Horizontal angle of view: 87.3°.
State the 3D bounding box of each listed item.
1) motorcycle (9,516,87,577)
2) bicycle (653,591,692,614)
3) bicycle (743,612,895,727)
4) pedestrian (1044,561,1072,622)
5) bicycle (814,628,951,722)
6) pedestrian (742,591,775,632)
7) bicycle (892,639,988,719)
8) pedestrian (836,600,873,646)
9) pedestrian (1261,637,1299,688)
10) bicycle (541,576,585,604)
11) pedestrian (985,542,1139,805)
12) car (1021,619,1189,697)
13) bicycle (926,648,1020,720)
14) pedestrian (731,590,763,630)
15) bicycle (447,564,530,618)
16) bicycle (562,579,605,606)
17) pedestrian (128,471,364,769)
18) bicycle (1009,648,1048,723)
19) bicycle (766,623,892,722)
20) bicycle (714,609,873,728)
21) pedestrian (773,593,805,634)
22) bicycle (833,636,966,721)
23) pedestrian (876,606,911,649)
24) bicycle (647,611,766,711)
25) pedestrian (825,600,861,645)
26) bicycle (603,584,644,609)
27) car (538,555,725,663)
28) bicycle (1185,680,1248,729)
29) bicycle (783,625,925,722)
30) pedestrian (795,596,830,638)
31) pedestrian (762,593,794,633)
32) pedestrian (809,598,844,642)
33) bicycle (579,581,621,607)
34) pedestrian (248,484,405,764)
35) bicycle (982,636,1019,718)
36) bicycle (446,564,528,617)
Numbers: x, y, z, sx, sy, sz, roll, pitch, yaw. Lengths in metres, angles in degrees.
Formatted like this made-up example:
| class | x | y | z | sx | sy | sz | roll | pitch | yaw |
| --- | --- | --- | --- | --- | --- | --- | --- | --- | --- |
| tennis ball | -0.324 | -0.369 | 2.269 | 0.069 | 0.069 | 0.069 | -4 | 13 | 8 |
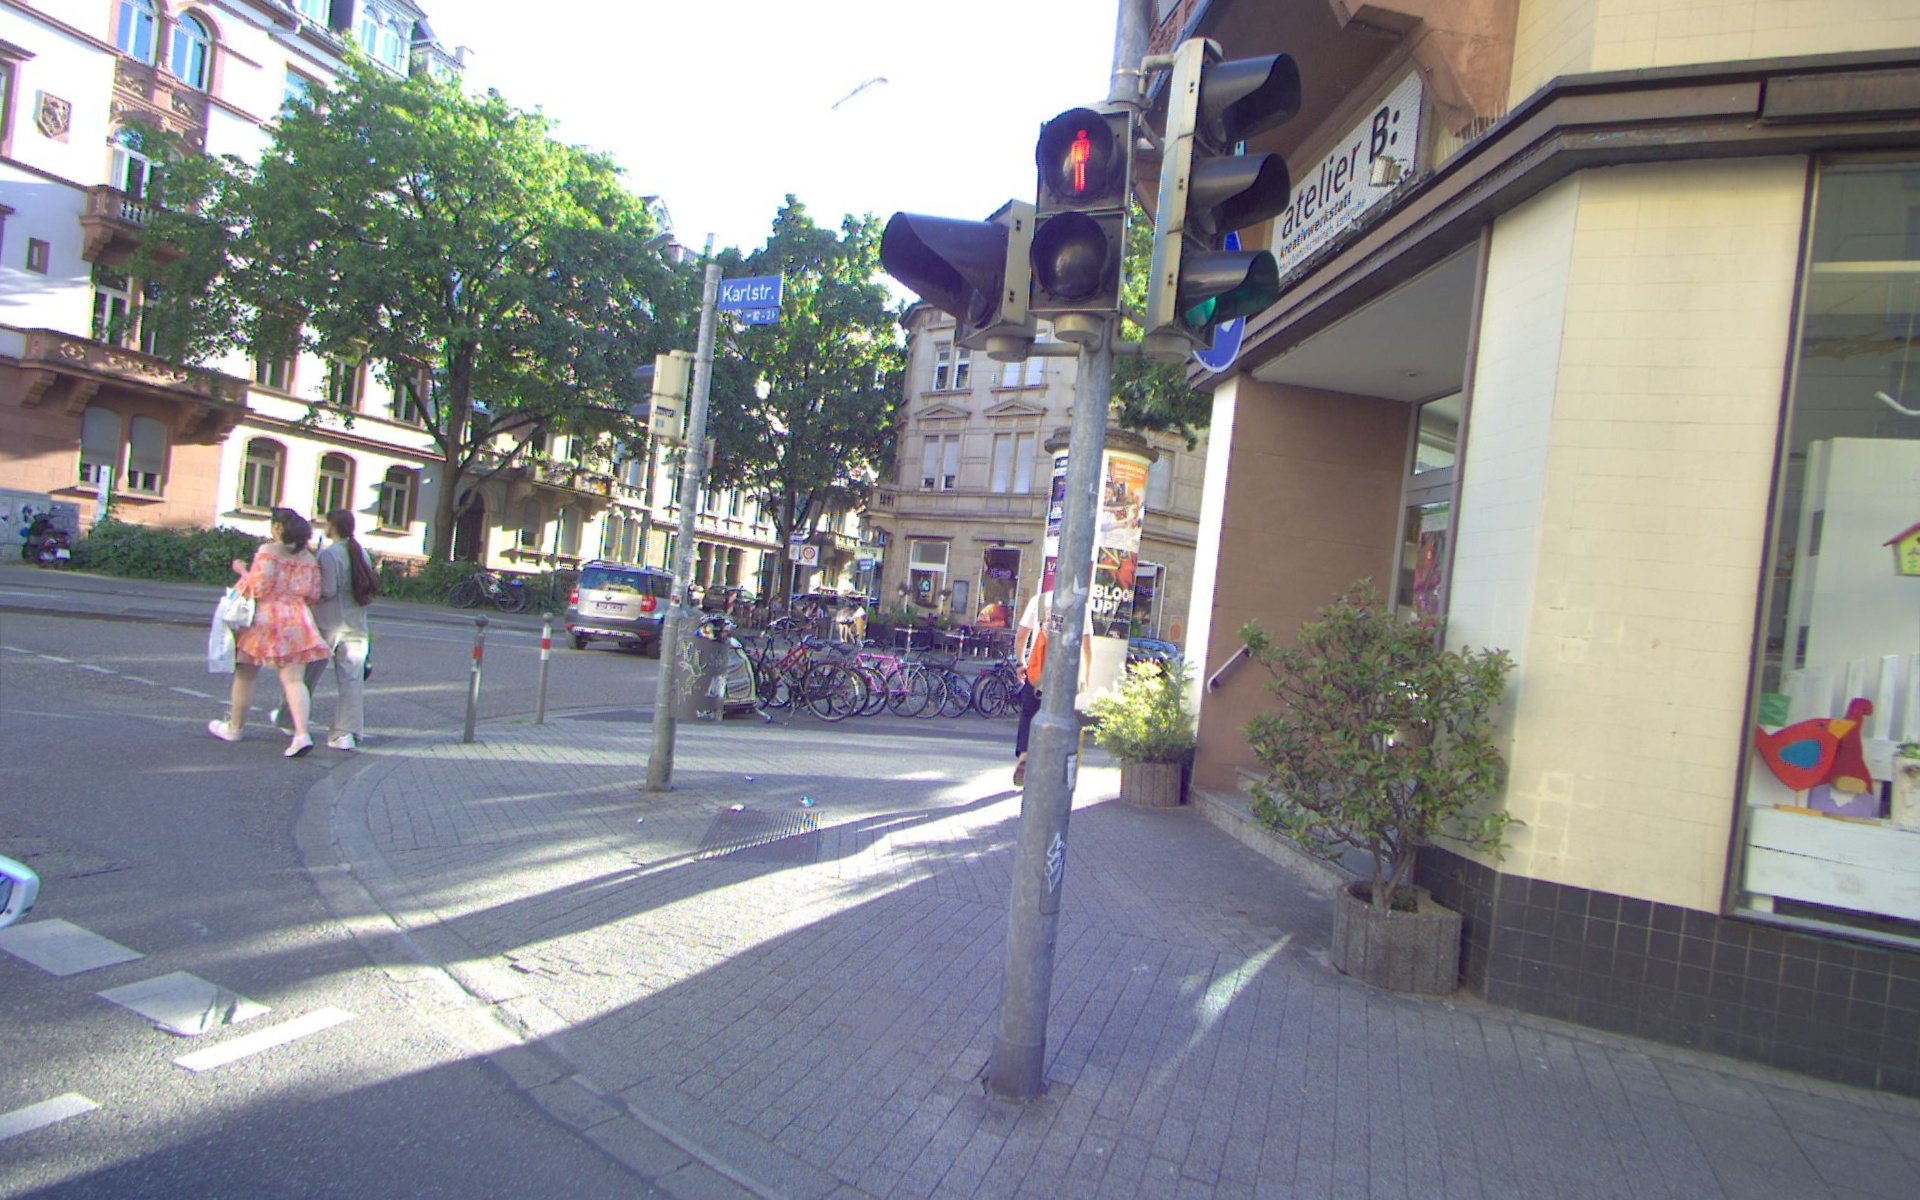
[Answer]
| class | x | y | z | sx | sy | sz | roll | pitch | yaw |
| --- | --- | --- | --- | --- | --- | --- | --- | --- | --- |
| motorcycle | -20.142 | -1.192 | 22.210 | 2.250 | 1.033 | 0.719 | 9 | 2 | 34 |
| bicycle | -13.460 | 0.112 | 47.099 | 1.765 | 0.904 | 0.493 | 6 | 0 | 25 |
| bicycle | -1.798 | 0.855 | 12.727 | 1.887 | 1.238 | 0.450 | 5 | 0 | 27 |
| pedestrian | 3.367 | -0.288 | 34.620 | 0.725 | 1.990 | 0.730 | 6 | 0 | 5 |
| bicycle | -1.106 | 1.036 | 14.187 | 1.887 | 1.112 | 0.450 | 5 | 0 | 27 |
| pedestrian | -7.450 | 0.430 | 37.185 | 0.905 | 1.448 | 0.758 | 2 | 3 | -34 |
| bicycle | -0.318 | 1.183 | 15.262 | 1.383 | 1.055 | 0.449 | 5 | 0 | 35 |
| pedestrian | -3.526 | 0.778 | 33.448 | 0.905 | 1.448 | 0.758 | 2 | 3 | -34 |
| pedestrian | 11.493 | 2.237 | 36.173 | 0.756 | 1.759 | 0.908 | 2 | 3 | -30 |
| bicycle | -16.049 | -0.402 | 40.679 | 1.765 | 0.904 | 0.493 | 6 | 0 | 25 |
| pedestrian | 0.816 | 0.513 | 7.819 | 0.793 | 1.825 | 1.090 | 7 | 5 | 19 |
| car | 3.848 | 1.539 | 26.650 | 3.950 | 1.593 | 1.792 | 7 | 0 | -26 |
| bicycle | 0.195 | 1.302 | 15.687 | 1.383 | 0.961 | 0.449 | 5 | -1 | 35 |
| pedestrian | -8.063 | 0.382 | 38.009 | 0.905 | 1.448 | 0.758 | 2 | 3 | -35 |
| bicycle | -12.377 | -0.223 | 26.423 | 1.844 | 1.176 | 0.555 | 7 | 2 | -30 |
| bicycle | -15.580 | -0.324 | 41.599 | 1.765 | 0.904 | 0.493 | 6 | 0 | 25 |
| pedestrian | -4.816 | 0.145 | 6.851 | 0.747 | 1.820 | 0.809 | 8 | -2 | 3 |
| bicycle | 1.088 | 1.348 | 16.184 | 0.442 | 1.099 | 1.405 | 5 | -1 | 0 |
| bicycle | -1.732 | 0.934 | 13.264 | 1.583 | 1.125 | 0.450 | 5 | 0 | 27 |
| bicycle | -2.045 | 0.814 | 12.270 | 1.887 | 1.238 | 0.505 | 5 | 0 | 27 |
| pedestrian | -6.413 | 0.513 | 37.701 | 0.905 | 1.448 | 0.758 | 2 | 3 | -34 |
| bicycle | -0.893 | 1.122 | 14.603 | 1.887 | 1.012 | 0.450 | 5 | 0 | 27 |
| pedestrian | -2.346 | 0.966 | 35.448 | 0.758 | 1.448 | 0.906 | 2 | 3 | -37 |
| bicycle | -3.001 | 0.718 | 11.920 | 1.046 | 1.057 | 0.778 | 5 | -1 | 32 |
| pedestrian | -3.957 | 0.746 | 34.090 | 0.905 | 1.448 | 0.758 | 2 | 3 | -35 |
| bicycle | -14.670 | -0.161 | 43.813 | 1.765 | 0.904 | 0.493 | 6 | 0 | 25 |
| car | -6.250 | 0.158 | 19.682 | 1.962 | 1.638 | 3.999 | 7 | 1 | 4 |
| bicycle | 4.448 | 1.798 | 17.423 | 1.126 | 0.768 | 0.395 | 1 | 3 | -35 |
| bicycle | -1.460 | 0.983 | 13.704 | 1.887 | 1.112 | 0.450 | 5 | 0 | 27 |
| pedestrian | -5.251 | 0.608 | 35.826 | 0.905 | 1.448 | 0.758 | 2 | 3 | -35 |
| pedestrian | -6.995 | 0.511 | 38.695 | 0.905 | 1.448 | 0.758 | 2 | 3 | -35 |
| pedestrian | -4.657 | 0.690 | 34.992 | 0.905 | 1.448 | 0.758 | 2 | 3 | -34 |
| bicycle | -15.171 | -0.257 | 42.384 | 1.765 | 0.904 | 0.493 | 6 | 0 | 25 |
| pedestrian | -4.637 | 0.177 | 7.407 | 0.658 | 1.933 | 0.692 | 3 | 1 | -6 |
| bicycle | 0.649 | 1.235 | 16.446 | 0.442 | 1.238 | 1.405 | 5 | -1 | 0 |
| bicycle | -12.660 | -0.241 | 26.949 | 1.844 | 1.176 | 0.555 | 7 | 2 | -30 |
